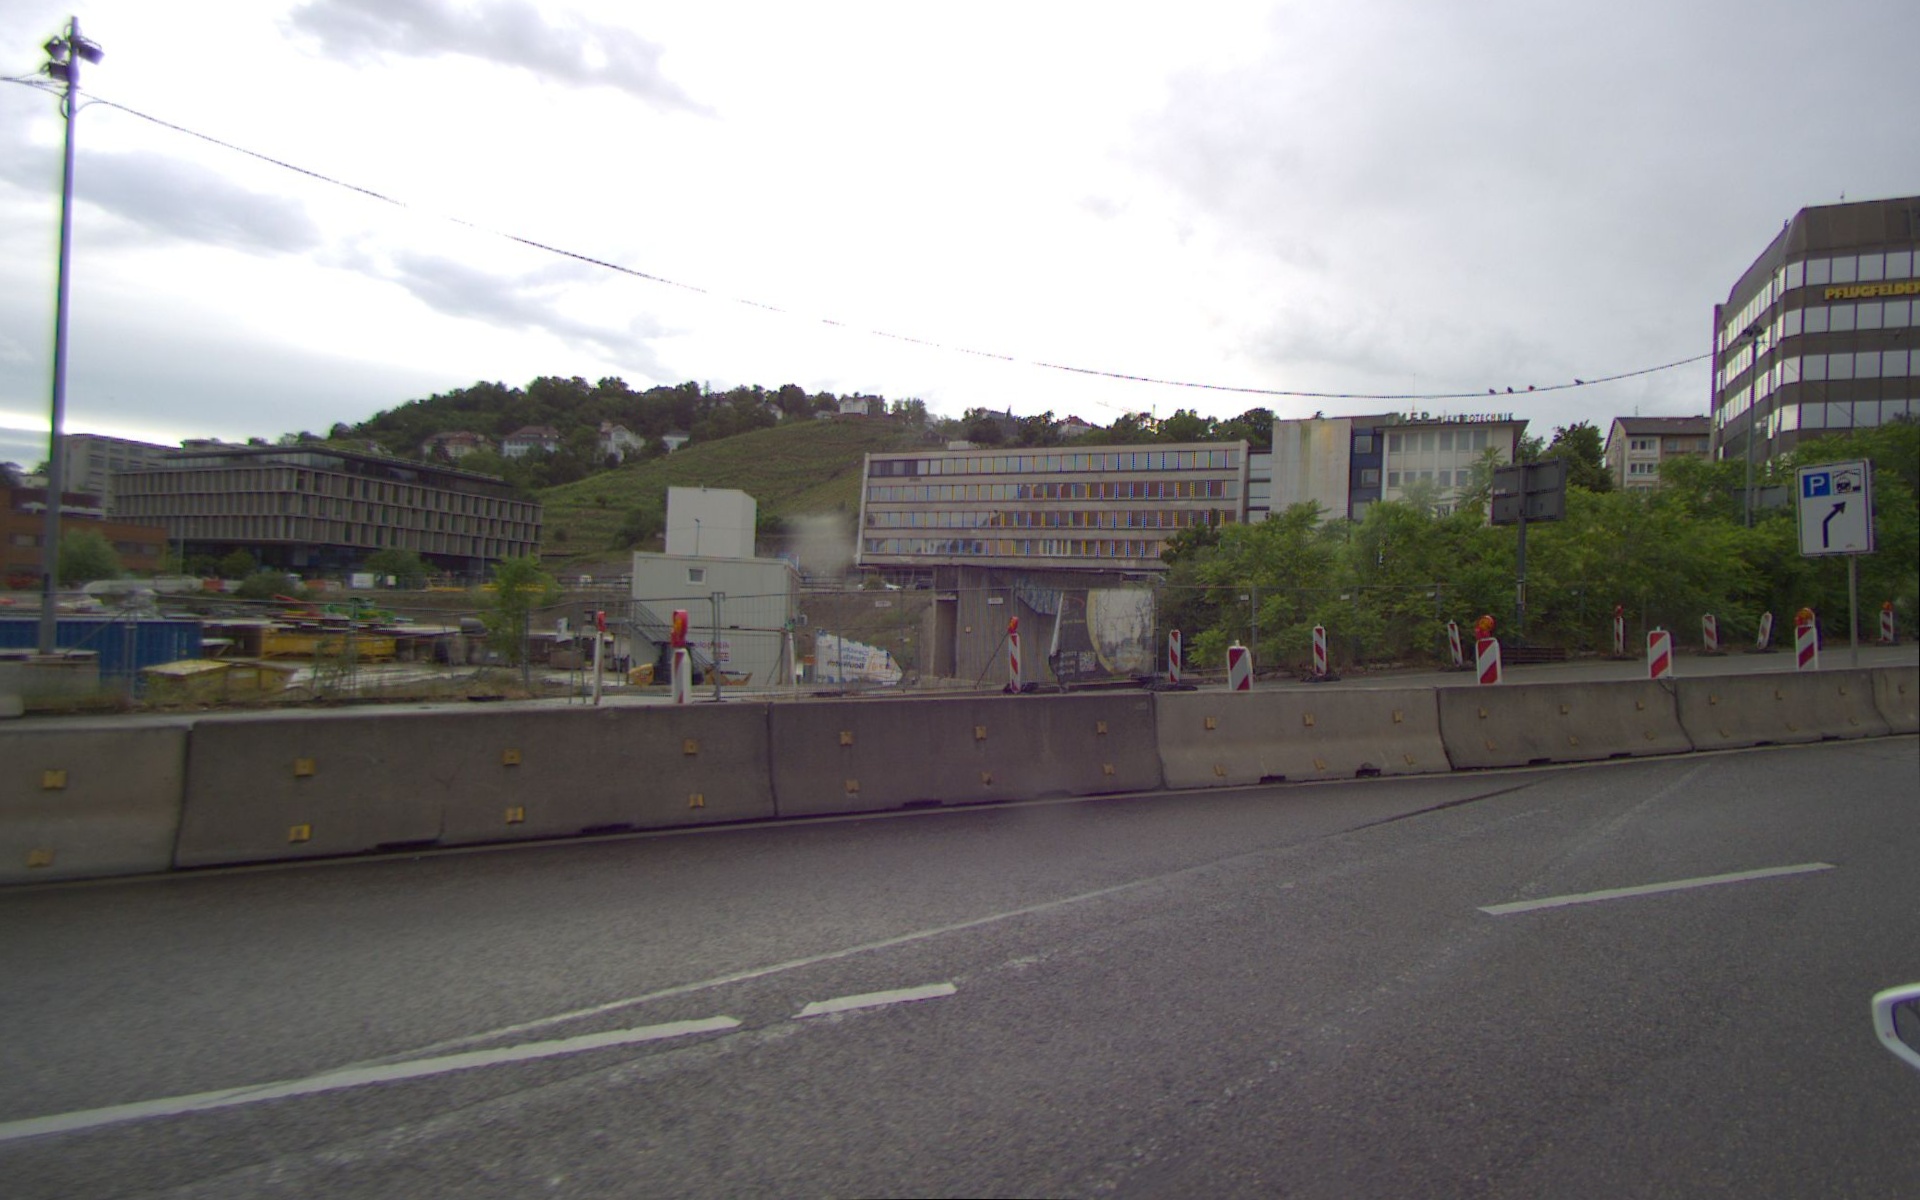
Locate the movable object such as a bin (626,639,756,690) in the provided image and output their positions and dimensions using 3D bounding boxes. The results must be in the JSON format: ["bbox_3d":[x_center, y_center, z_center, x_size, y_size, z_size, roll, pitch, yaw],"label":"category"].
[{"bbox_3d":[-9.705,2.326,36.240,4.378,1.698,1.729,2,-1,-19],"label":"movable object such as a bin"}]
